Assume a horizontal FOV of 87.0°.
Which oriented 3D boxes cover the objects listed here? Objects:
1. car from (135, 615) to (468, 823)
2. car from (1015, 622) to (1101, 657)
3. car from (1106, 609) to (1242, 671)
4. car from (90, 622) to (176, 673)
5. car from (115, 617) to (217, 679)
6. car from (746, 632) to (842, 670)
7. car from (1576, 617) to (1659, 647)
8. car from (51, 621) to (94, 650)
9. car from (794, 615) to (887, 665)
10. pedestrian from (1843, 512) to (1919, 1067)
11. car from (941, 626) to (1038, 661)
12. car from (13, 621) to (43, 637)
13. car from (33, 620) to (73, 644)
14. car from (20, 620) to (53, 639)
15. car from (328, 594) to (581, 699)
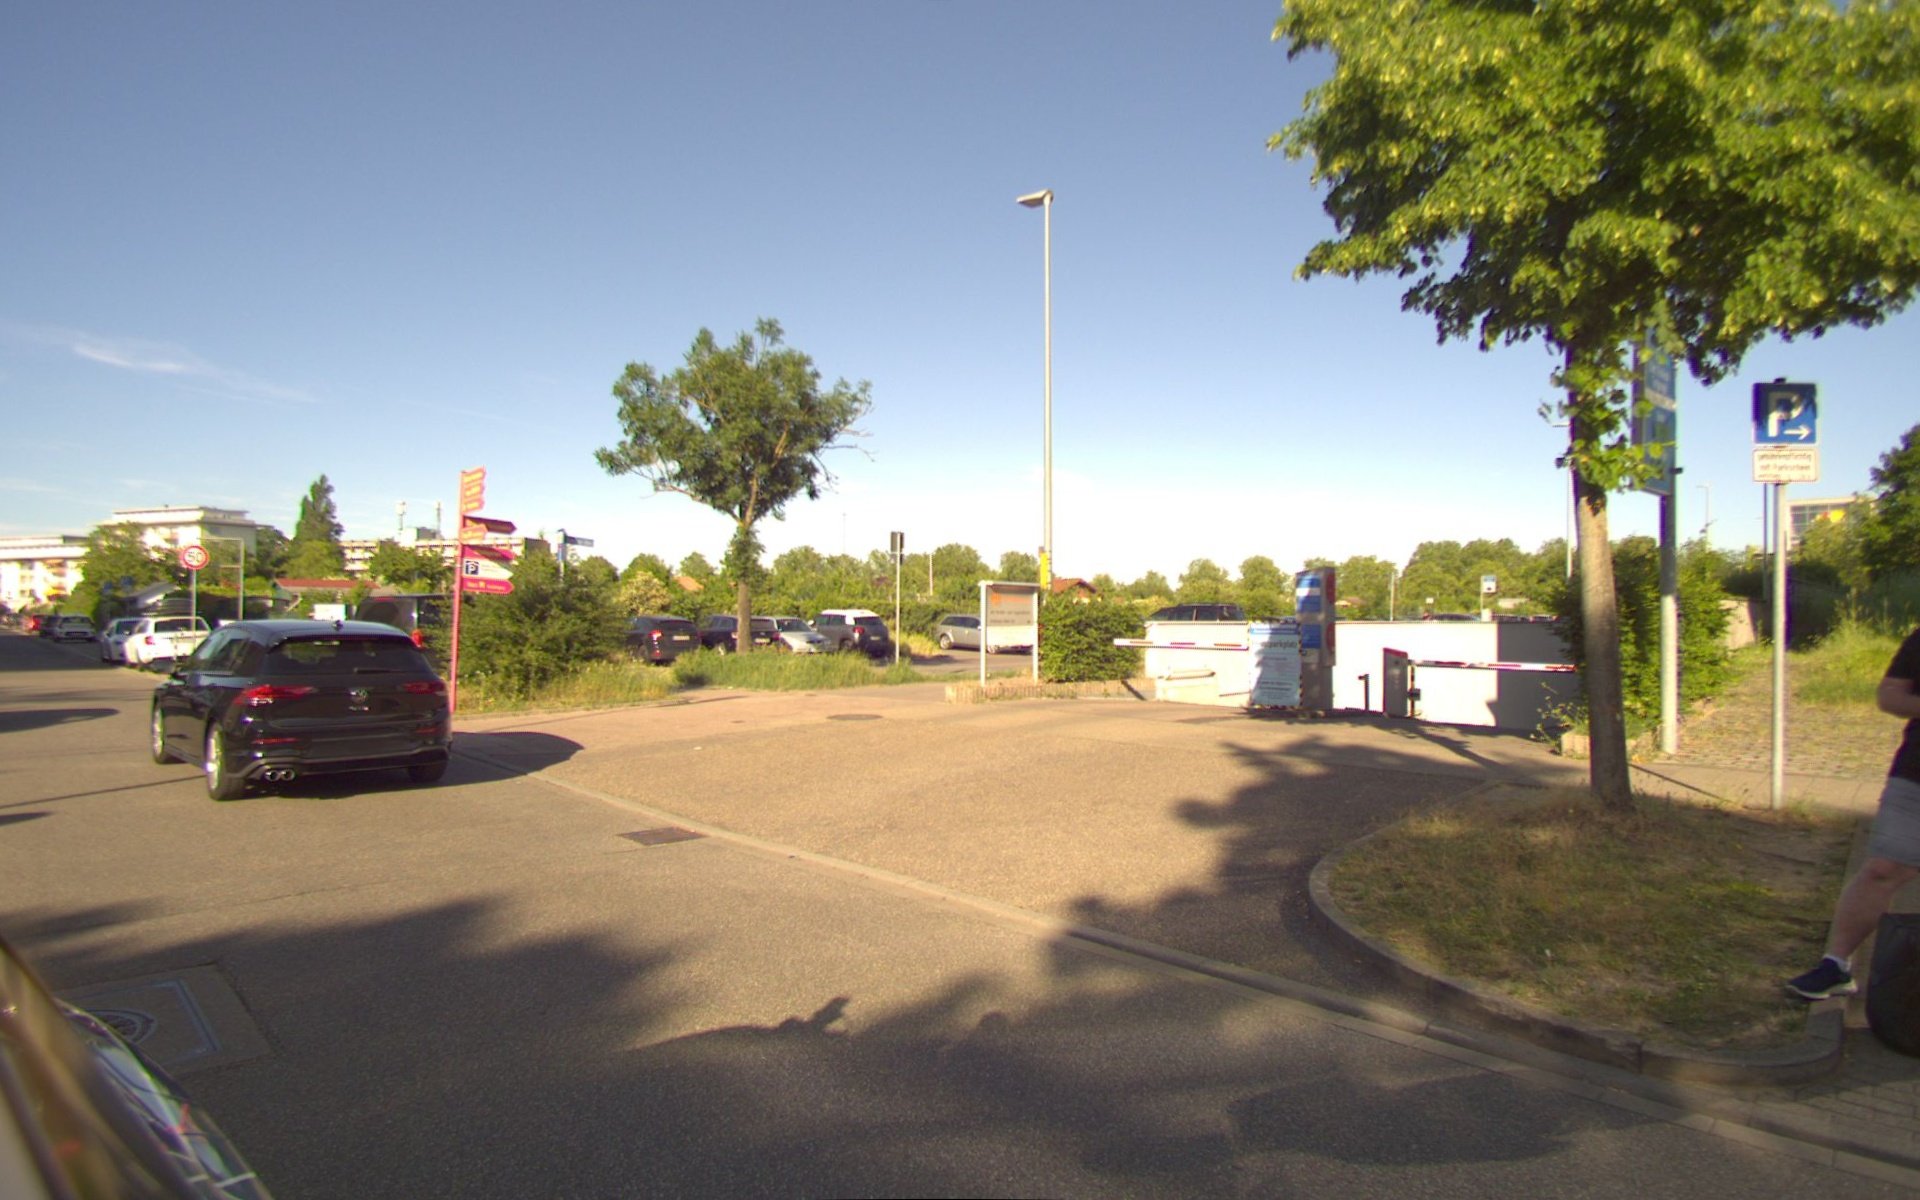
[{"bbox_3d":[-6.194,0.914,9.315,4.088,1.462,1.684,0,-3,45],"label":"car"},{"bbox_3d":[4.257,1.708,44.487,1.486,1.496,3.853,1,-2,-39],"label":"car"},{"bbox_3d":[6.573,1.205,31.418,1.486,1.803,4.111,1,-2,-39],"label":"car"},{"bbox_3d":[-26.997,1.493,32.991,1.727,1.456,4.544,-3,1,-44],"label":"car"},{"bbox_3d":[-22.281,1.296,28.337,1.676,1.525,4.519,-2,0,-45],"label":"car"},{"bbox_3d":[-5.611,1.678,33.945,1.486,1.160,3.853,1,-2,-39],"label":"car"},{"bbox_3d":[45.084,2.168,69.420,1.969,2.029,4.398,1,-2,-42],"label":"car"},{"bbox_3d":[-47.392,1.861,54.019,3.403,1.499,1.510,-1,-1,45],"label":"car"},{"bbox_3d":[-4.307,1.389,36.006,1.486,1.707,3.853,1,-2,-39],"label":"car"},{"bbox_3d":[3.677,0.624,3.500,0.847,1.856,0.826,-1,0,-43],"label":"pedestrian"},{"bbox_3d":[1.131,1.711,40.162,3.847,1.273,1.489,-1,-4,44],"label":"car"},{"bbox_3d":[-79.668,2.459,86.495,3.912,1.380,1.676,-1,-2,45],"label":"car"},{"bbox_3d":[-59.650,2.098,66.552,1.676,1.434,4.519,-2,0,-45],"label":"car"},{"bbox_3d":[-72.628,2.288,79.568,1.676,1.440,4.388,1,-2,-45],"label":"car"},{"bbox_3d":[-10.181,0.847,20.968,1.940,1.882,5.238,-2,0,10],"label":"car"}]
